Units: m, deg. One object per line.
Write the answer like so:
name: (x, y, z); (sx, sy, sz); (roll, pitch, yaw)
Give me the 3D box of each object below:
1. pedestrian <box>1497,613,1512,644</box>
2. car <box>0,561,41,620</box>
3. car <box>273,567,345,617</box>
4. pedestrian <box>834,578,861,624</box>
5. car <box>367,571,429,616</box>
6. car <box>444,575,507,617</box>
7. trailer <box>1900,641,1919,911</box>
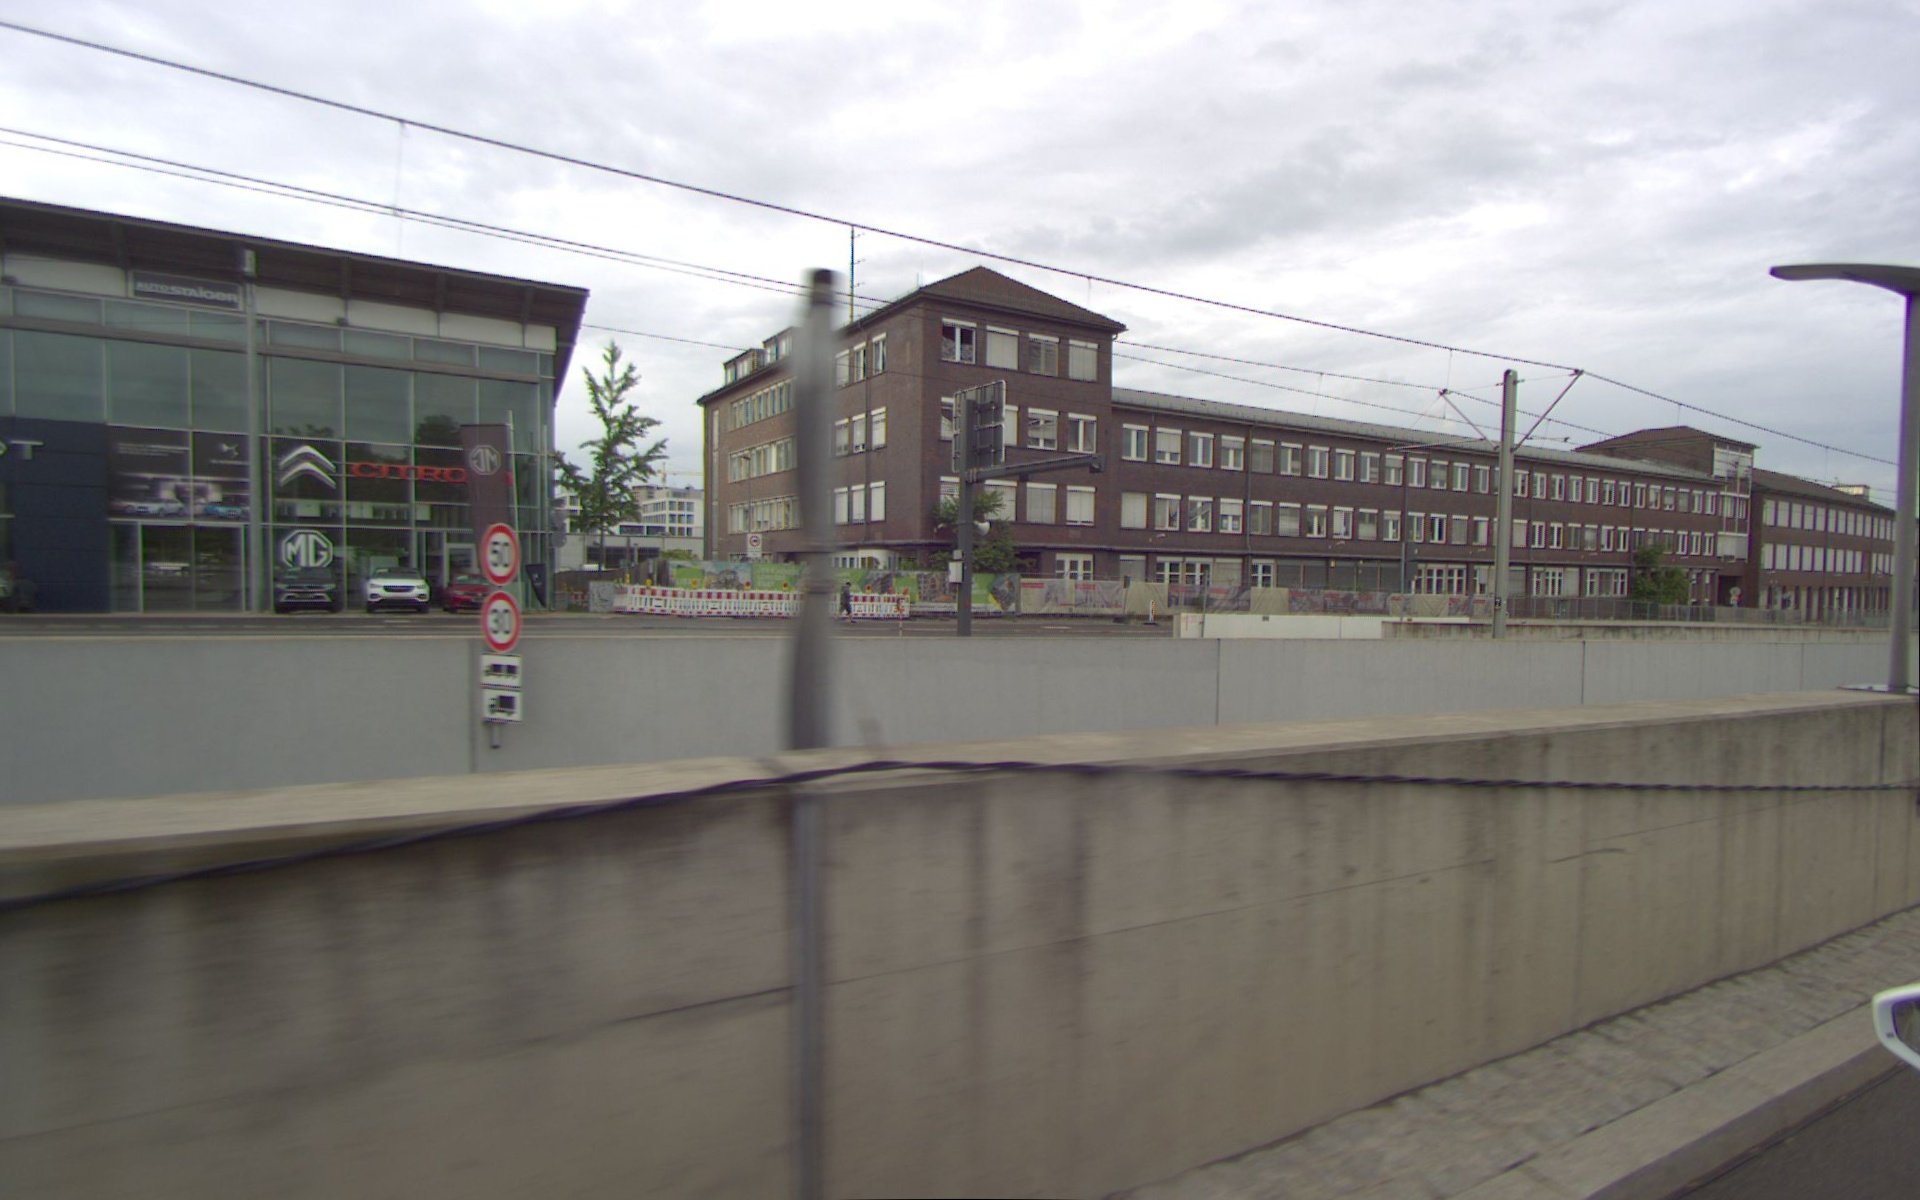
pedestrian: (36.637, 1.915, 67.572); (0.645, 2.040, 0.667); (1, 0, -32)
car: (-27.544, -0.227, 28.522); (1.557, 1.421, 3.484); (0, -4, -33)
car: (-21.055, -0.248, 32.612); (1.729, 1.493, 3.464); (1, 0, -30)
pedestrian: (-4.392, 0.051, 39.269); (0.830, 1.774, 0.612); (1, 1, -30)
car: (-19.066, -0.214, 34.075); (1.729, 1.416, 3.464); (1, 0, -30)
car: (-17.210, -0.132, 35.609); (1.601, 1.400, 3.460); (1, -1, -33)
trailer: (21.594, 2.934, 18.421); (13.027, 4.309, 2.749); (1, 0, -30)
